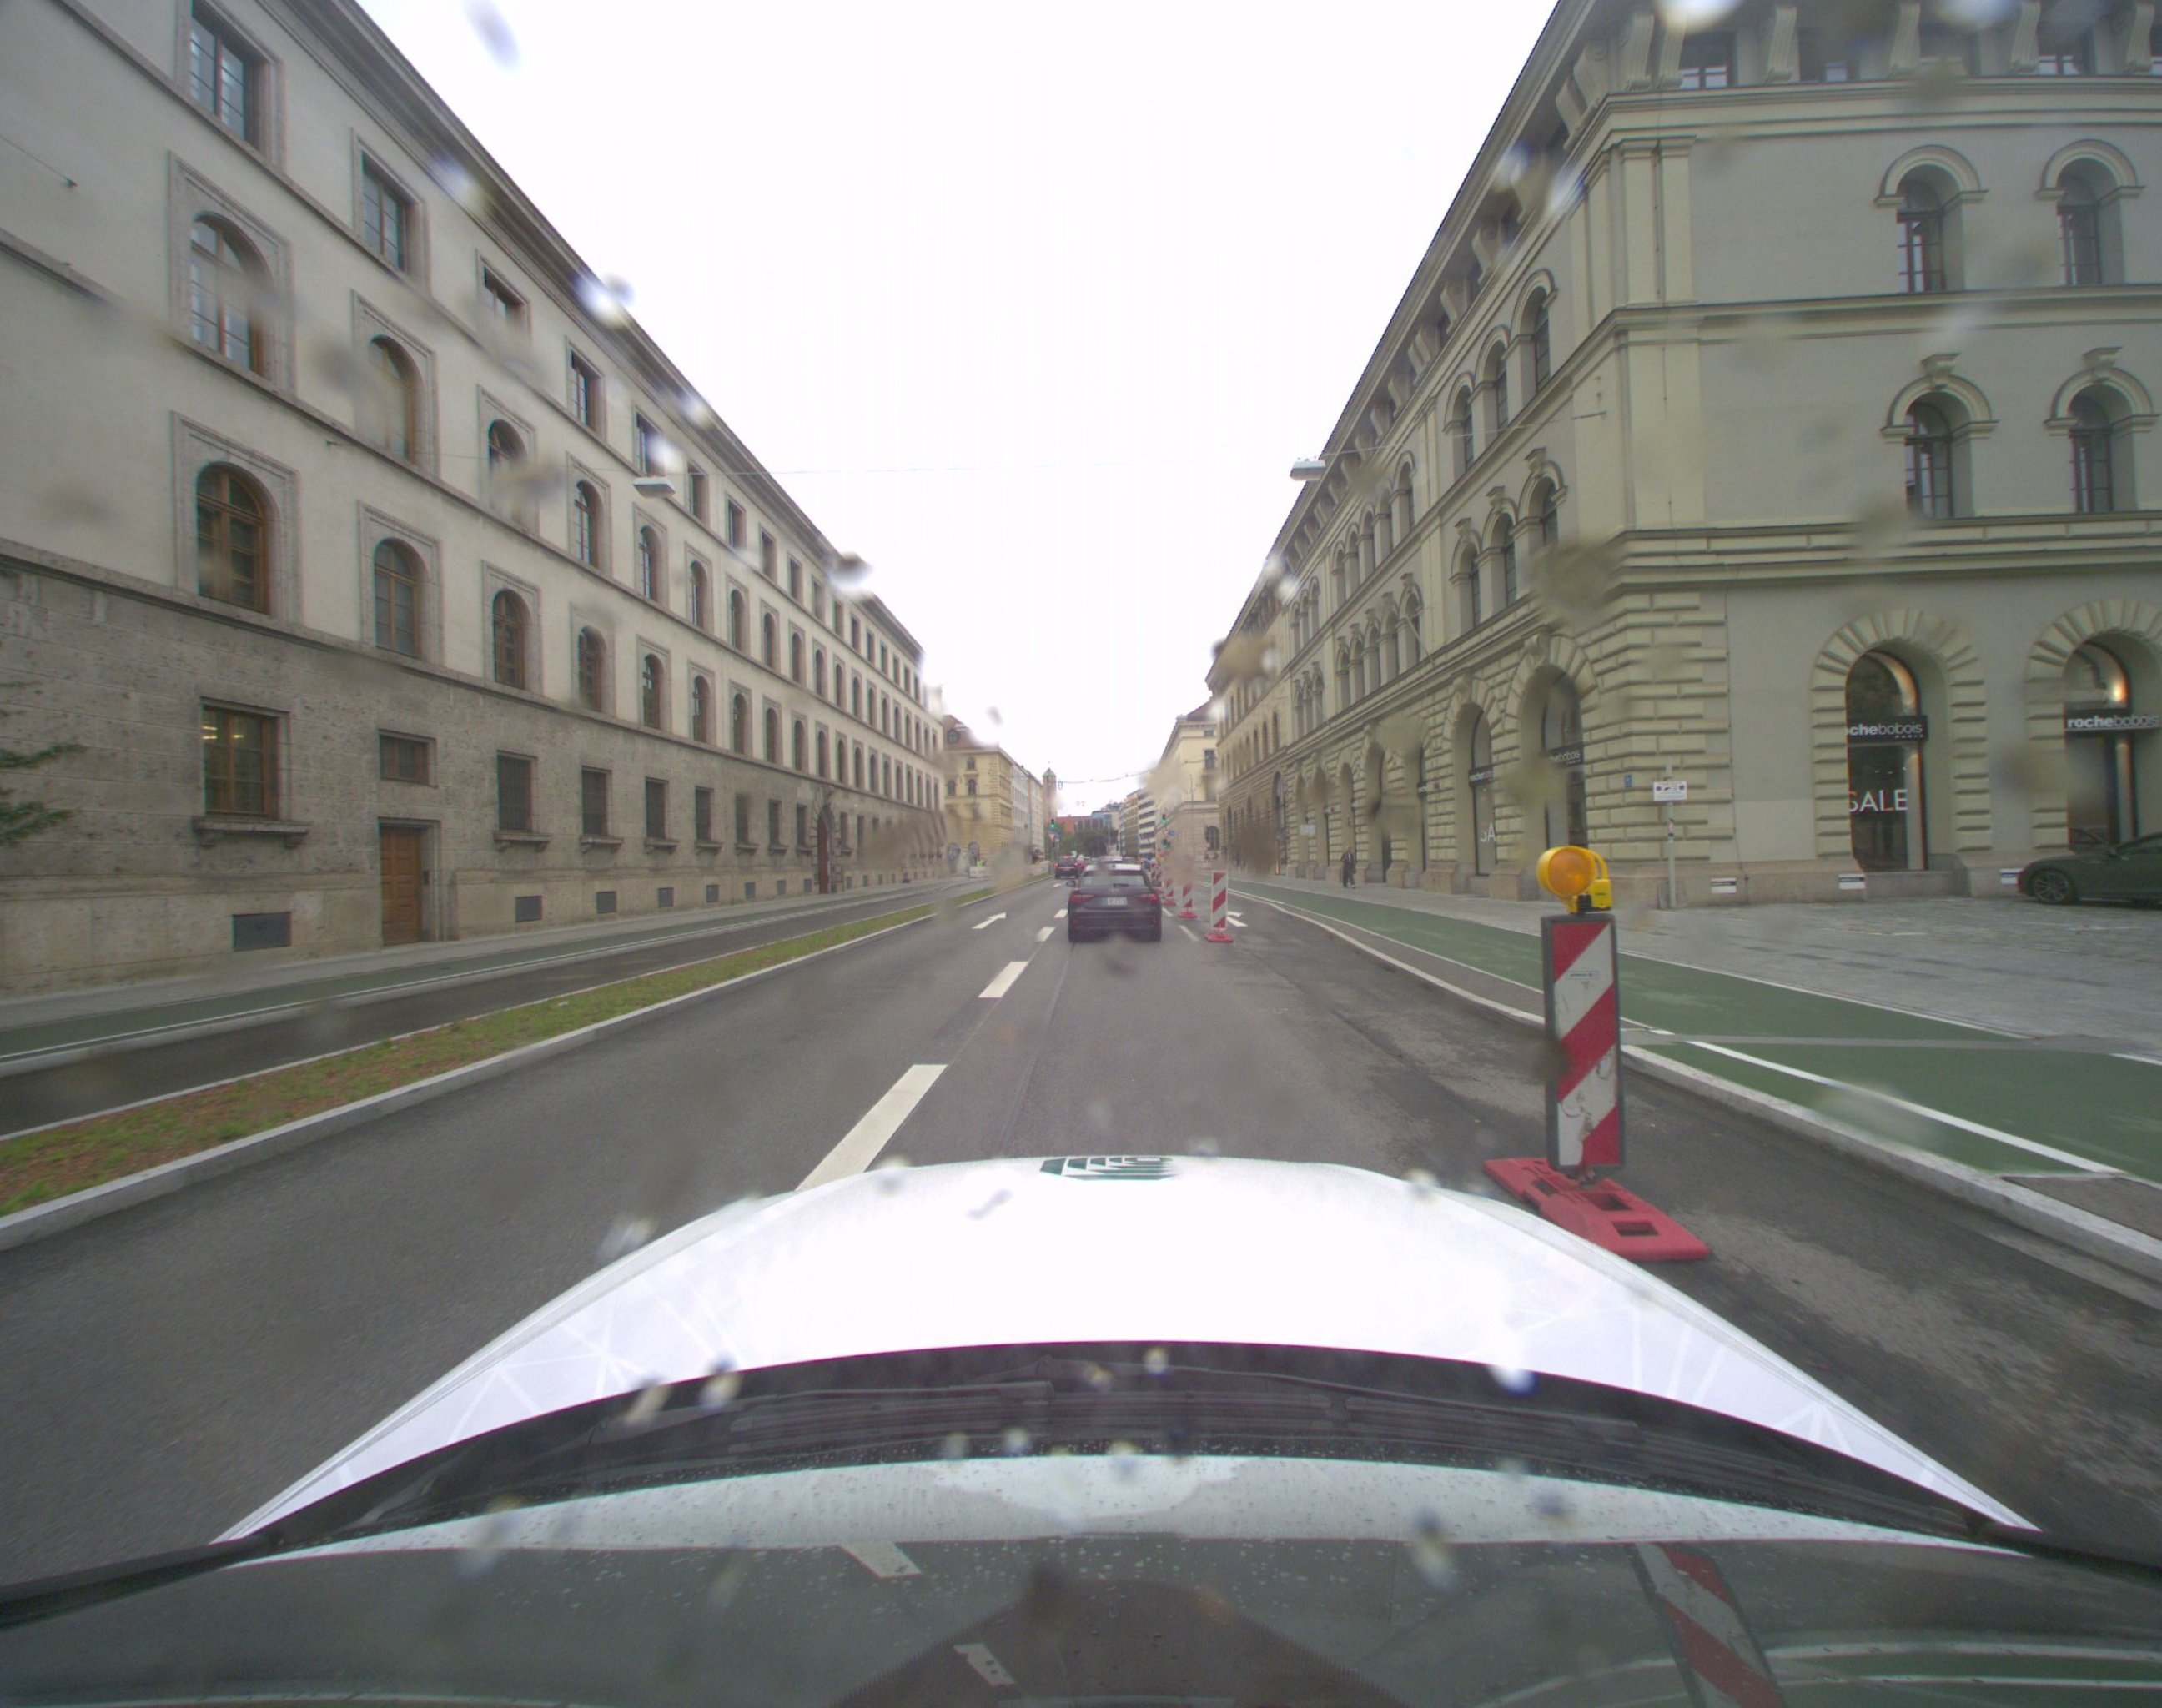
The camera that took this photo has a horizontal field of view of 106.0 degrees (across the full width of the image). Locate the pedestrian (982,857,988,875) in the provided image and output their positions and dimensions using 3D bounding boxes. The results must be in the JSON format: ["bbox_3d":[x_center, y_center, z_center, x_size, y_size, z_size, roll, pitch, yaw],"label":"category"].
[{"bbox_3d":[-9.590,1.190,81.121,0.512,1.743,1.040,-2,-1,-8],"label":"pedestrian"}]

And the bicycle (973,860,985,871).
[{"bbox_3d":[-11.800,1.307,94.523,0.783,1.242,2.453,-1,0,7],"label":"bicycle"}]

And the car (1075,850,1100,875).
[{"bbox_3d":[0.552,0.742,69.387,1.986,2.013,4.001,-2,0,2],"label":"car"}]

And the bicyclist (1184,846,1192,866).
[{"bbox_3d":[9.850,0.168,75.283,0.565,1.854,0.798,-1,0,-4],"label":"bicyclist"}]

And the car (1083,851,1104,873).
[{"bbox_3d":[1.288,0.786,81.629,1.986,2.013,4.002,-2,0,2],"label":"car"}]

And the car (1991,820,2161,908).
[{"bbox_3d":[18.527,0.136,13.465,1.851,1.426,4.631,-2,0,2],"label":"car"}]

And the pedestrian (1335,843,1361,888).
[{"bbox_3d":[10.529,0.458,32.110,0.630,1.704,1.086,-3,0,1],"label":"pedestrian"}]

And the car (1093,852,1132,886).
[{"bbox_3d":[1.574,0.741,41.690,1.764,1.617,3.998,-1,0,-1],"label":"car"}]

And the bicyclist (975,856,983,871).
[{"bbox_3d":[-11.809,1.061,94.464,0.794,1.748,0.690,-1,0,6],"label":"bicyclist"}]

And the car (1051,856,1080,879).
[{"bbox_3d":[-1.112,0.959,59.886,1.858,1.601,3.852,-2,0,2],"label":"car"}]

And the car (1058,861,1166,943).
[{"bbox_3d":[0.611,0.854,16.242,1.856,1.388,4.002,-1,0,2],"label":"car"}]

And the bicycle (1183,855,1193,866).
[{"bbox_3d":[9.854,0.567,75.275,0.583,1.011,1.654,-1,0,-4],"label":"bicycle"}]
